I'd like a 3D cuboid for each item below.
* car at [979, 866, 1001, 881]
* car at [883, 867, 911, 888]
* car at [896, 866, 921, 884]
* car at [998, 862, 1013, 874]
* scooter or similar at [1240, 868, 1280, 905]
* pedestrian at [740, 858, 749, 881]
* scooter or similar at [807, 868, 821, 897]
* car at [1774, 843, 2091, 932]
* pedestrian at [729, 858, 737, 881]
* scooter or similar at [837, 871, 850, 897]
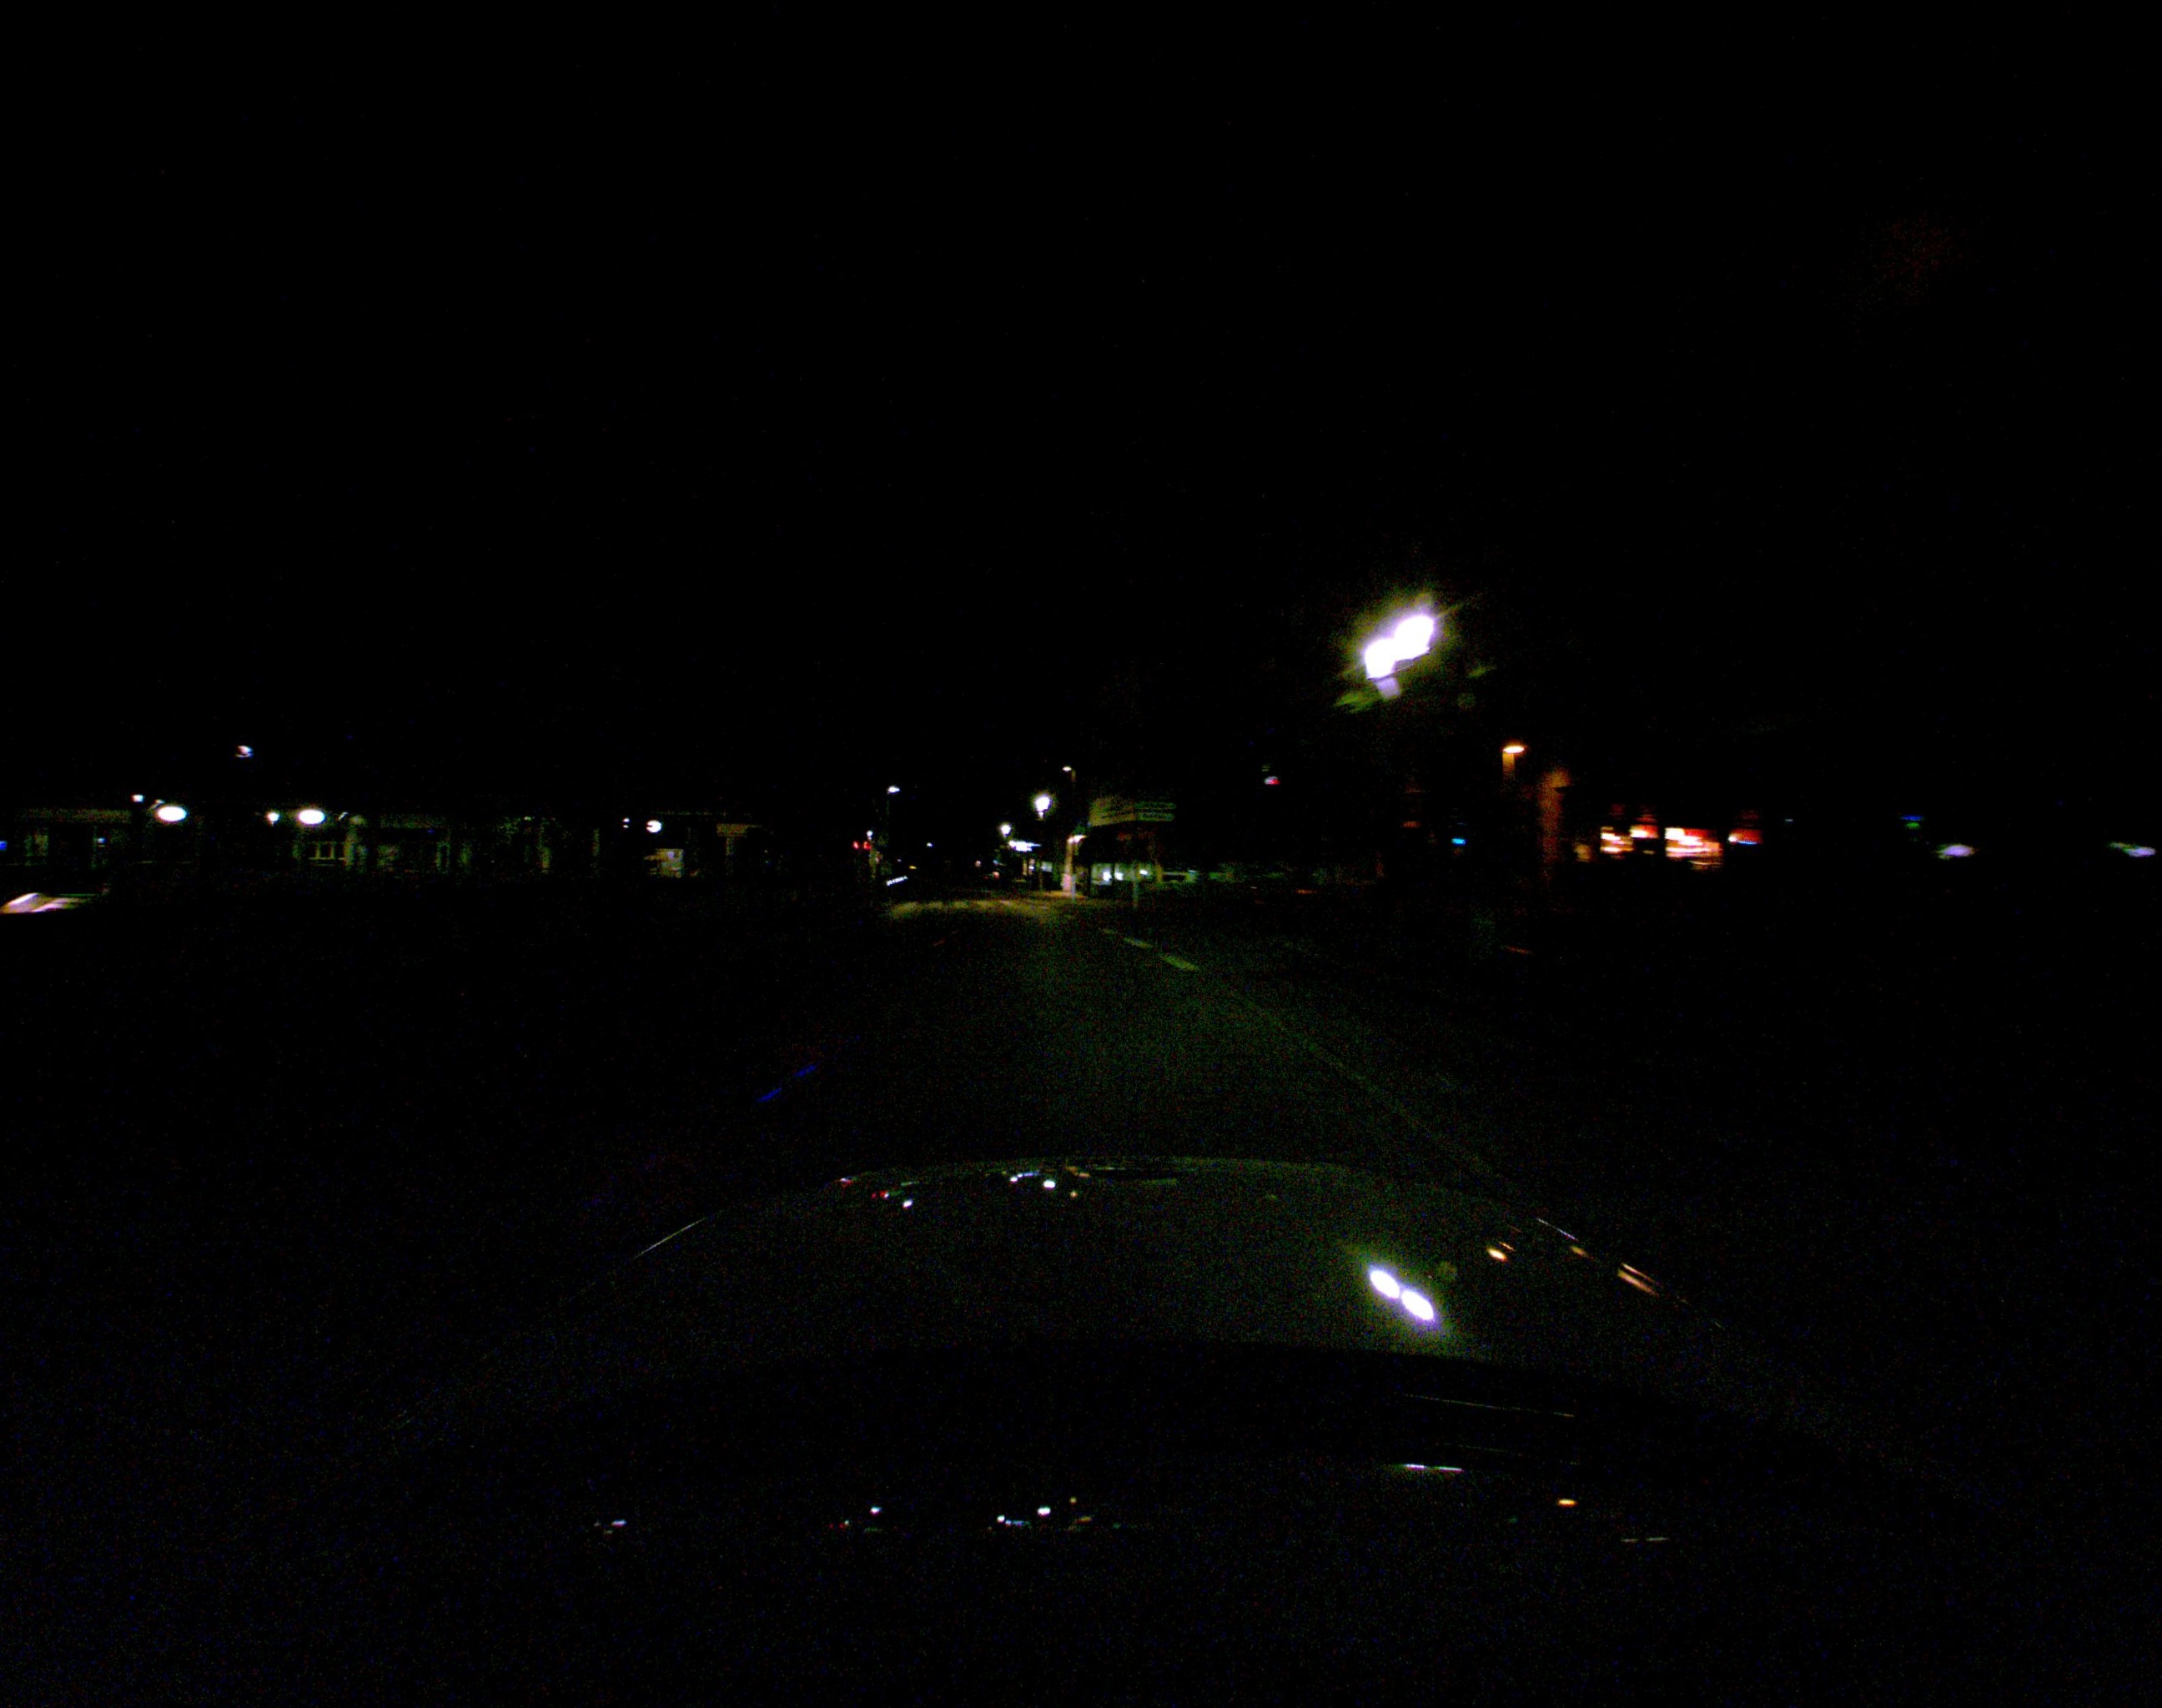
[{"bbox_3d":[-9.223,1.921,82.430,1.834,1.358,3.985,-1,0,-11],"label":"car"},{"bbox_3d":[-13.857,1.761,61.570,1.834,1.453,3.985,-1,-1,-10],"label":"car"},{"bbox_3d":[-15.275,1.856,71.935,1.838,1.453,3.977,-1,0,-17],"label":"car"},{"bbox_3d":[-10.370,1.879,111.882,1.710,1.547,3.526,-1,0,-11],"label":"car"},{"bbox_3d":[6.311,1.137,28.722,1.243,1.227,0.598,1,0,-4],"label":"scooter or similar"},{"bbox_3d":[-22.886,1.038,55.383,0.529,1.546,0.508,-1,0,-19],"label":"pedestrian"},{"bbox_3d":[-12.260,1.312,37.388,0.430,1.284,1.143,-1,0,-10],"label":"scooter or similar"},{"bbox_3d":[17.938,0.638,17.504,1.996,1.660,4.320,1,0,-13],"label":"car"},{"bbox_3d":[-23.587,1.054,55.222,0.459,1.546,0.479,-1,0,-17],"label":"pedestrian"},{"bbox_3d":[-10.975,1.376,37.667,0.430,1.134,1.000,-1,0,-10],"label":"scooter or similar"}]
